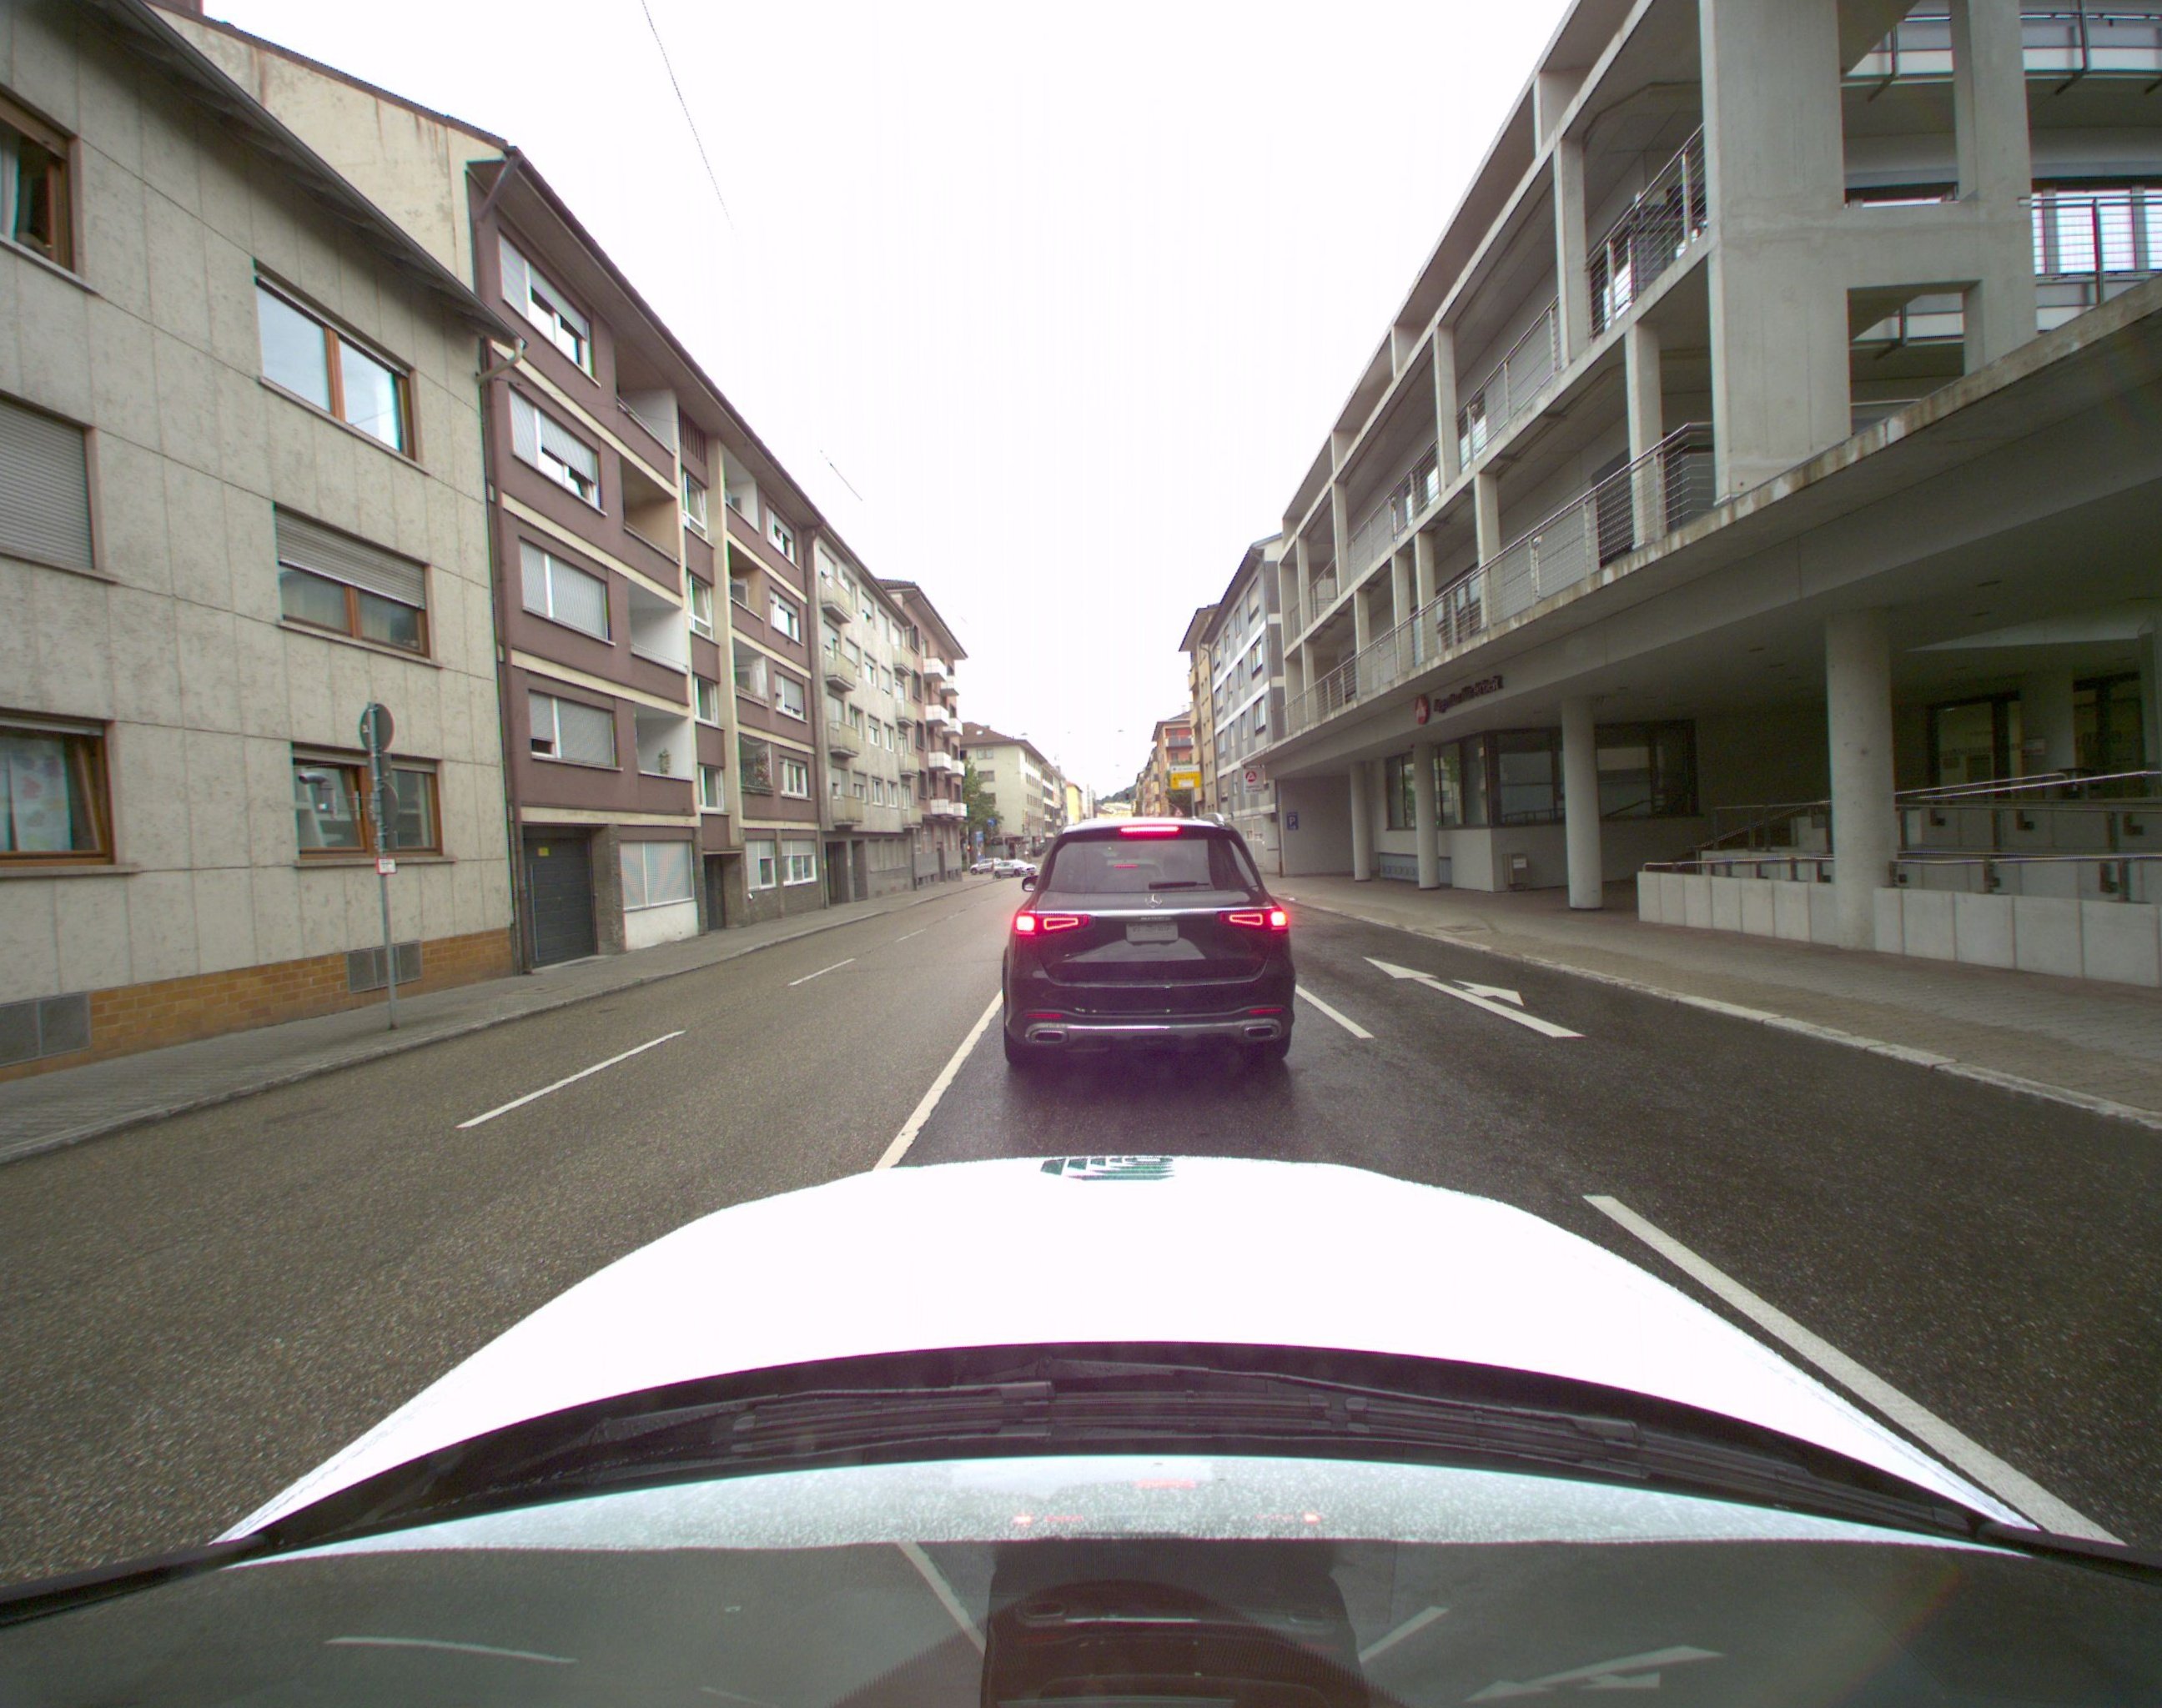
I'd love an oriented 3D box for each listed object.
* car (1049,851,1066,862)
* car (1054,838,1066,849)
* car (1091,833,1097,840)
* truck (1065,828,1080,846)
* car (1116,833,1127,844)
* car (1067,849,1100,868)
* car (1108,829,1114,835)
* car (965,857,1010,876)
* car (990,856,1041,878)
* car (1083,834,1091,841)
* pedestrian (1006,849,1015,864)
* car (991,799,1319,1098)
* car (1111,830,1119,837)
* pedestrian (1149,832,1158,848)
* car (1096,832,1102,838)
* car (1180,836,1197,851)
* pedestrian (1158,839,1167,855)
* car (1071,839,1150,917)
[{"bbox_3d":[-2.908,0.311,101.048,1.879,1.264,4.216,-5,-1,0],"label":"car"},{"bbox_3d":[-3.387,-1.707,131.954,1.613,1.539,4.216,-4,-1,0],"label":"car"},{"bbox_3d":[3.463,-4.633,219.546,1.613,1.539,4.216,-4,-1,0],"label":"car"},{"bbox_3d":[-1.600,-3.171,157.377,2.472,3.046,9.917,-4,-1,0],"label":"truck"},{"bbox_3d":[7.490,-2.869,151.805,1.718,1.759,4.216,-4,0,0],"label":"car"},{"bbox_3d":[0.185,0.447,76.026,1.820,1.539,4.193,-4,-1,-17],"label":"car"},{"bbox_3d":[8.715,-6.348,237.679,1.613,1.539,4.216,-4,-1,0],"label":"car"},{"bbox_3d":[-9.506,1.255,82.804,4.168,1.539,1.632,-5,-1,21],"label":"car"},{"bbox_3d":[-5.630,1.123,69.678,4.303,1.539,1.789,-5,-1,43],"label":"car"},{"bbox_3d":[1.452,-3.947,193.977,1.613,1.539,4.216,-4,-1,0],"label":"car"},{"bbox_3d":[-8.851,0.291,102.394,0.920,1.902,0.706,-3,0,0],"label":"pedestrian"},{"bbox_3d":[0.514,0.593,7.143,1.977,1.805,4.391,0,-1,2],"label":"car"},{"bbox_3d":[7.933,-4.640,188.236,1.613,1.387,4.216,-5,-1,0],"label":"car"},{"bbox_3d":[9.365,-1.795,105.466,0.920,2.013,0.706,-3,0,0],"label":"pedestrian"},{"bbox_3d":[5.577,-5.962,250.476,1.613,1.539,4.216,-4,-1,0],"label":"car"},{"bbox_3d":[12.479,-1.169,94.545,1.664,1.588,3.334,-3,0,4],"label":"car"},{"bbox_3d":[9.902,-0.850,99.375,0.920,1.804,0.706,-3,0,0],"label":"pedestrian"},{"bbox_3d":[0.670,0.578,20.965,1.746,1.731,4.216,-3,-1,0],"label":"car"}]
